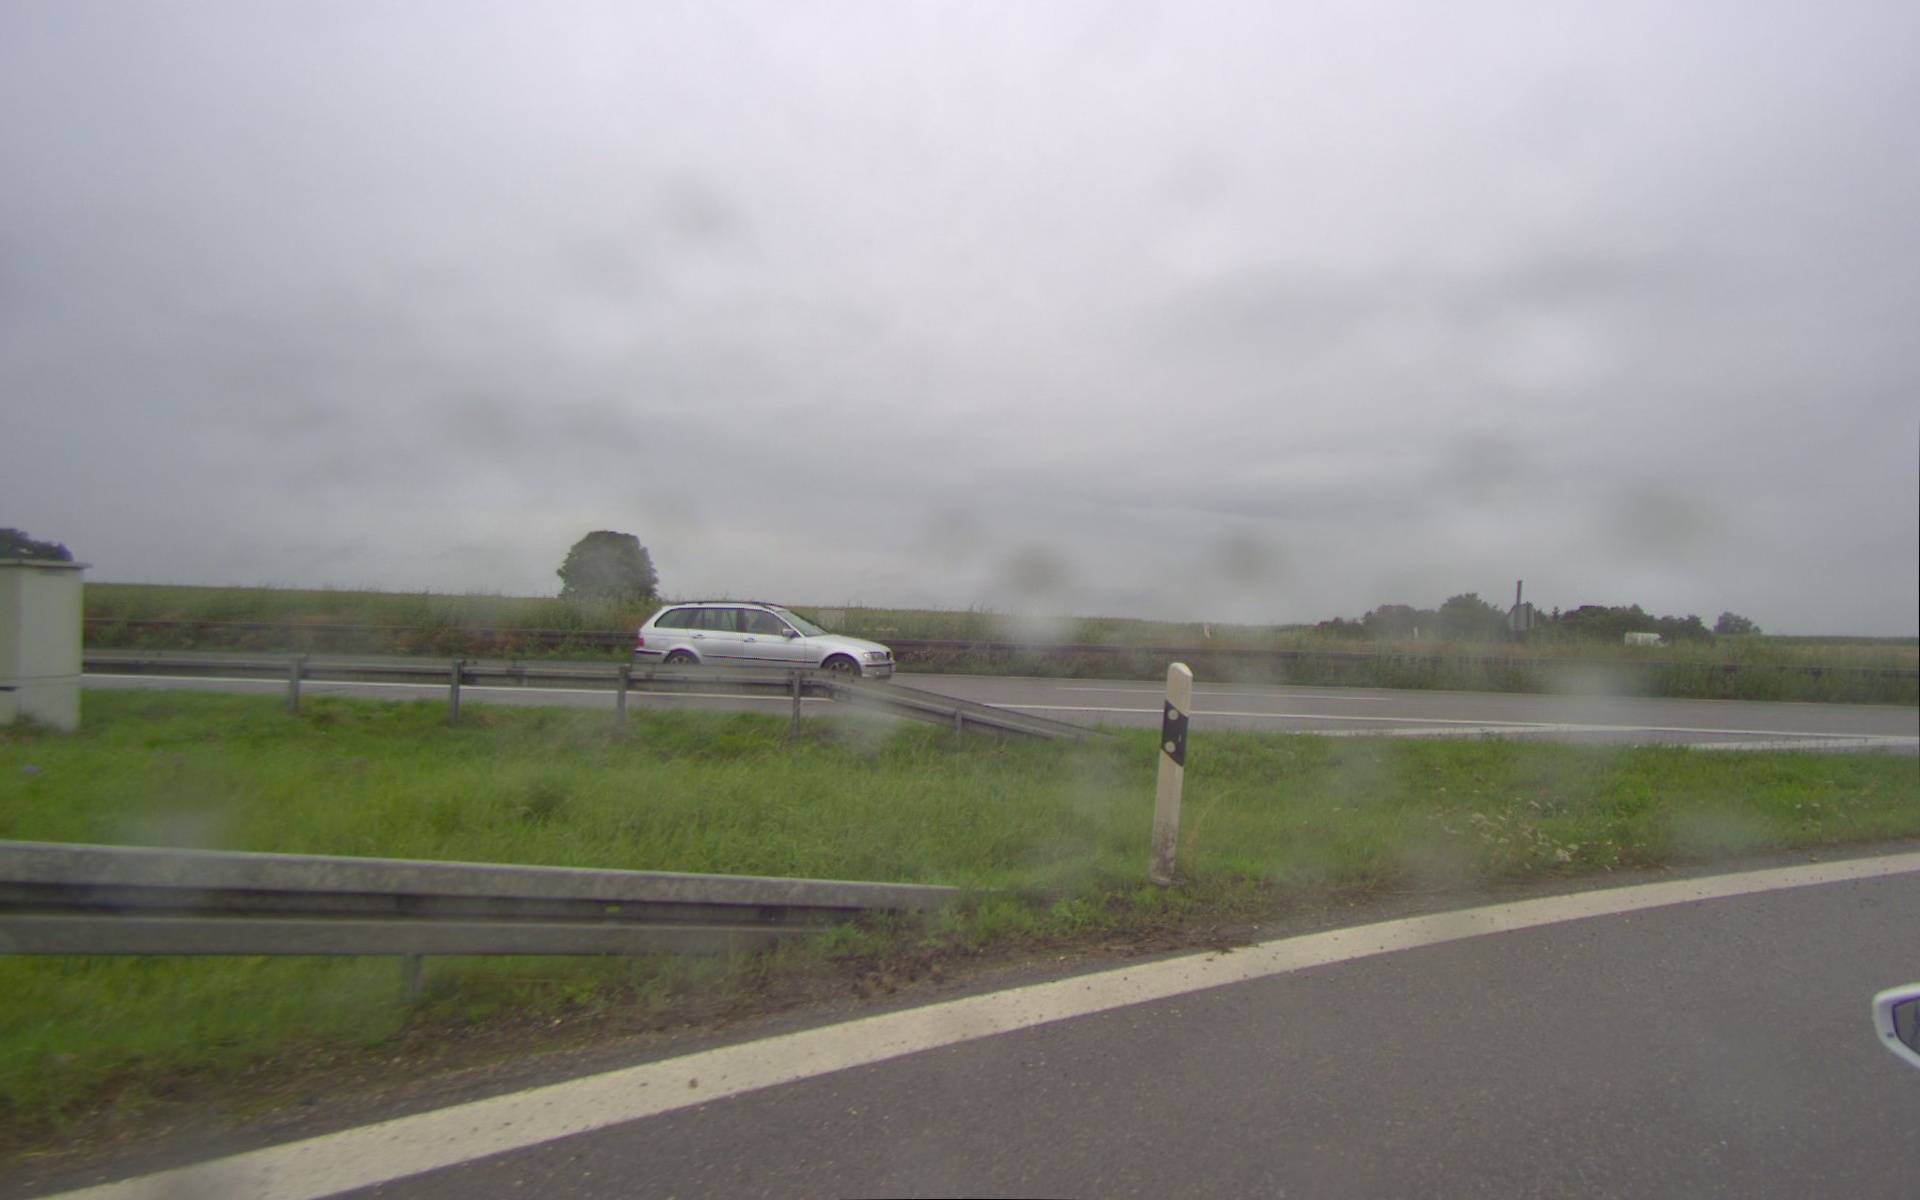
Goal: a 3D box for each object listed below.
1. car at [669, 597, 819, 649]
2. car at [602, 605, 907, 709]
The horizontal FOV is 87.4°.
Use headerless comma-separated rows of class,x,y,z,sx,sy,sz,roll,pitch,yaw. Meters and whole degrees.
car,-7.174,0.751,33.649,4.439,1.560,2.113,1,0,6
car,-3.403,0.935,17.162,4.699,1.507,1.881,2,-1,6
